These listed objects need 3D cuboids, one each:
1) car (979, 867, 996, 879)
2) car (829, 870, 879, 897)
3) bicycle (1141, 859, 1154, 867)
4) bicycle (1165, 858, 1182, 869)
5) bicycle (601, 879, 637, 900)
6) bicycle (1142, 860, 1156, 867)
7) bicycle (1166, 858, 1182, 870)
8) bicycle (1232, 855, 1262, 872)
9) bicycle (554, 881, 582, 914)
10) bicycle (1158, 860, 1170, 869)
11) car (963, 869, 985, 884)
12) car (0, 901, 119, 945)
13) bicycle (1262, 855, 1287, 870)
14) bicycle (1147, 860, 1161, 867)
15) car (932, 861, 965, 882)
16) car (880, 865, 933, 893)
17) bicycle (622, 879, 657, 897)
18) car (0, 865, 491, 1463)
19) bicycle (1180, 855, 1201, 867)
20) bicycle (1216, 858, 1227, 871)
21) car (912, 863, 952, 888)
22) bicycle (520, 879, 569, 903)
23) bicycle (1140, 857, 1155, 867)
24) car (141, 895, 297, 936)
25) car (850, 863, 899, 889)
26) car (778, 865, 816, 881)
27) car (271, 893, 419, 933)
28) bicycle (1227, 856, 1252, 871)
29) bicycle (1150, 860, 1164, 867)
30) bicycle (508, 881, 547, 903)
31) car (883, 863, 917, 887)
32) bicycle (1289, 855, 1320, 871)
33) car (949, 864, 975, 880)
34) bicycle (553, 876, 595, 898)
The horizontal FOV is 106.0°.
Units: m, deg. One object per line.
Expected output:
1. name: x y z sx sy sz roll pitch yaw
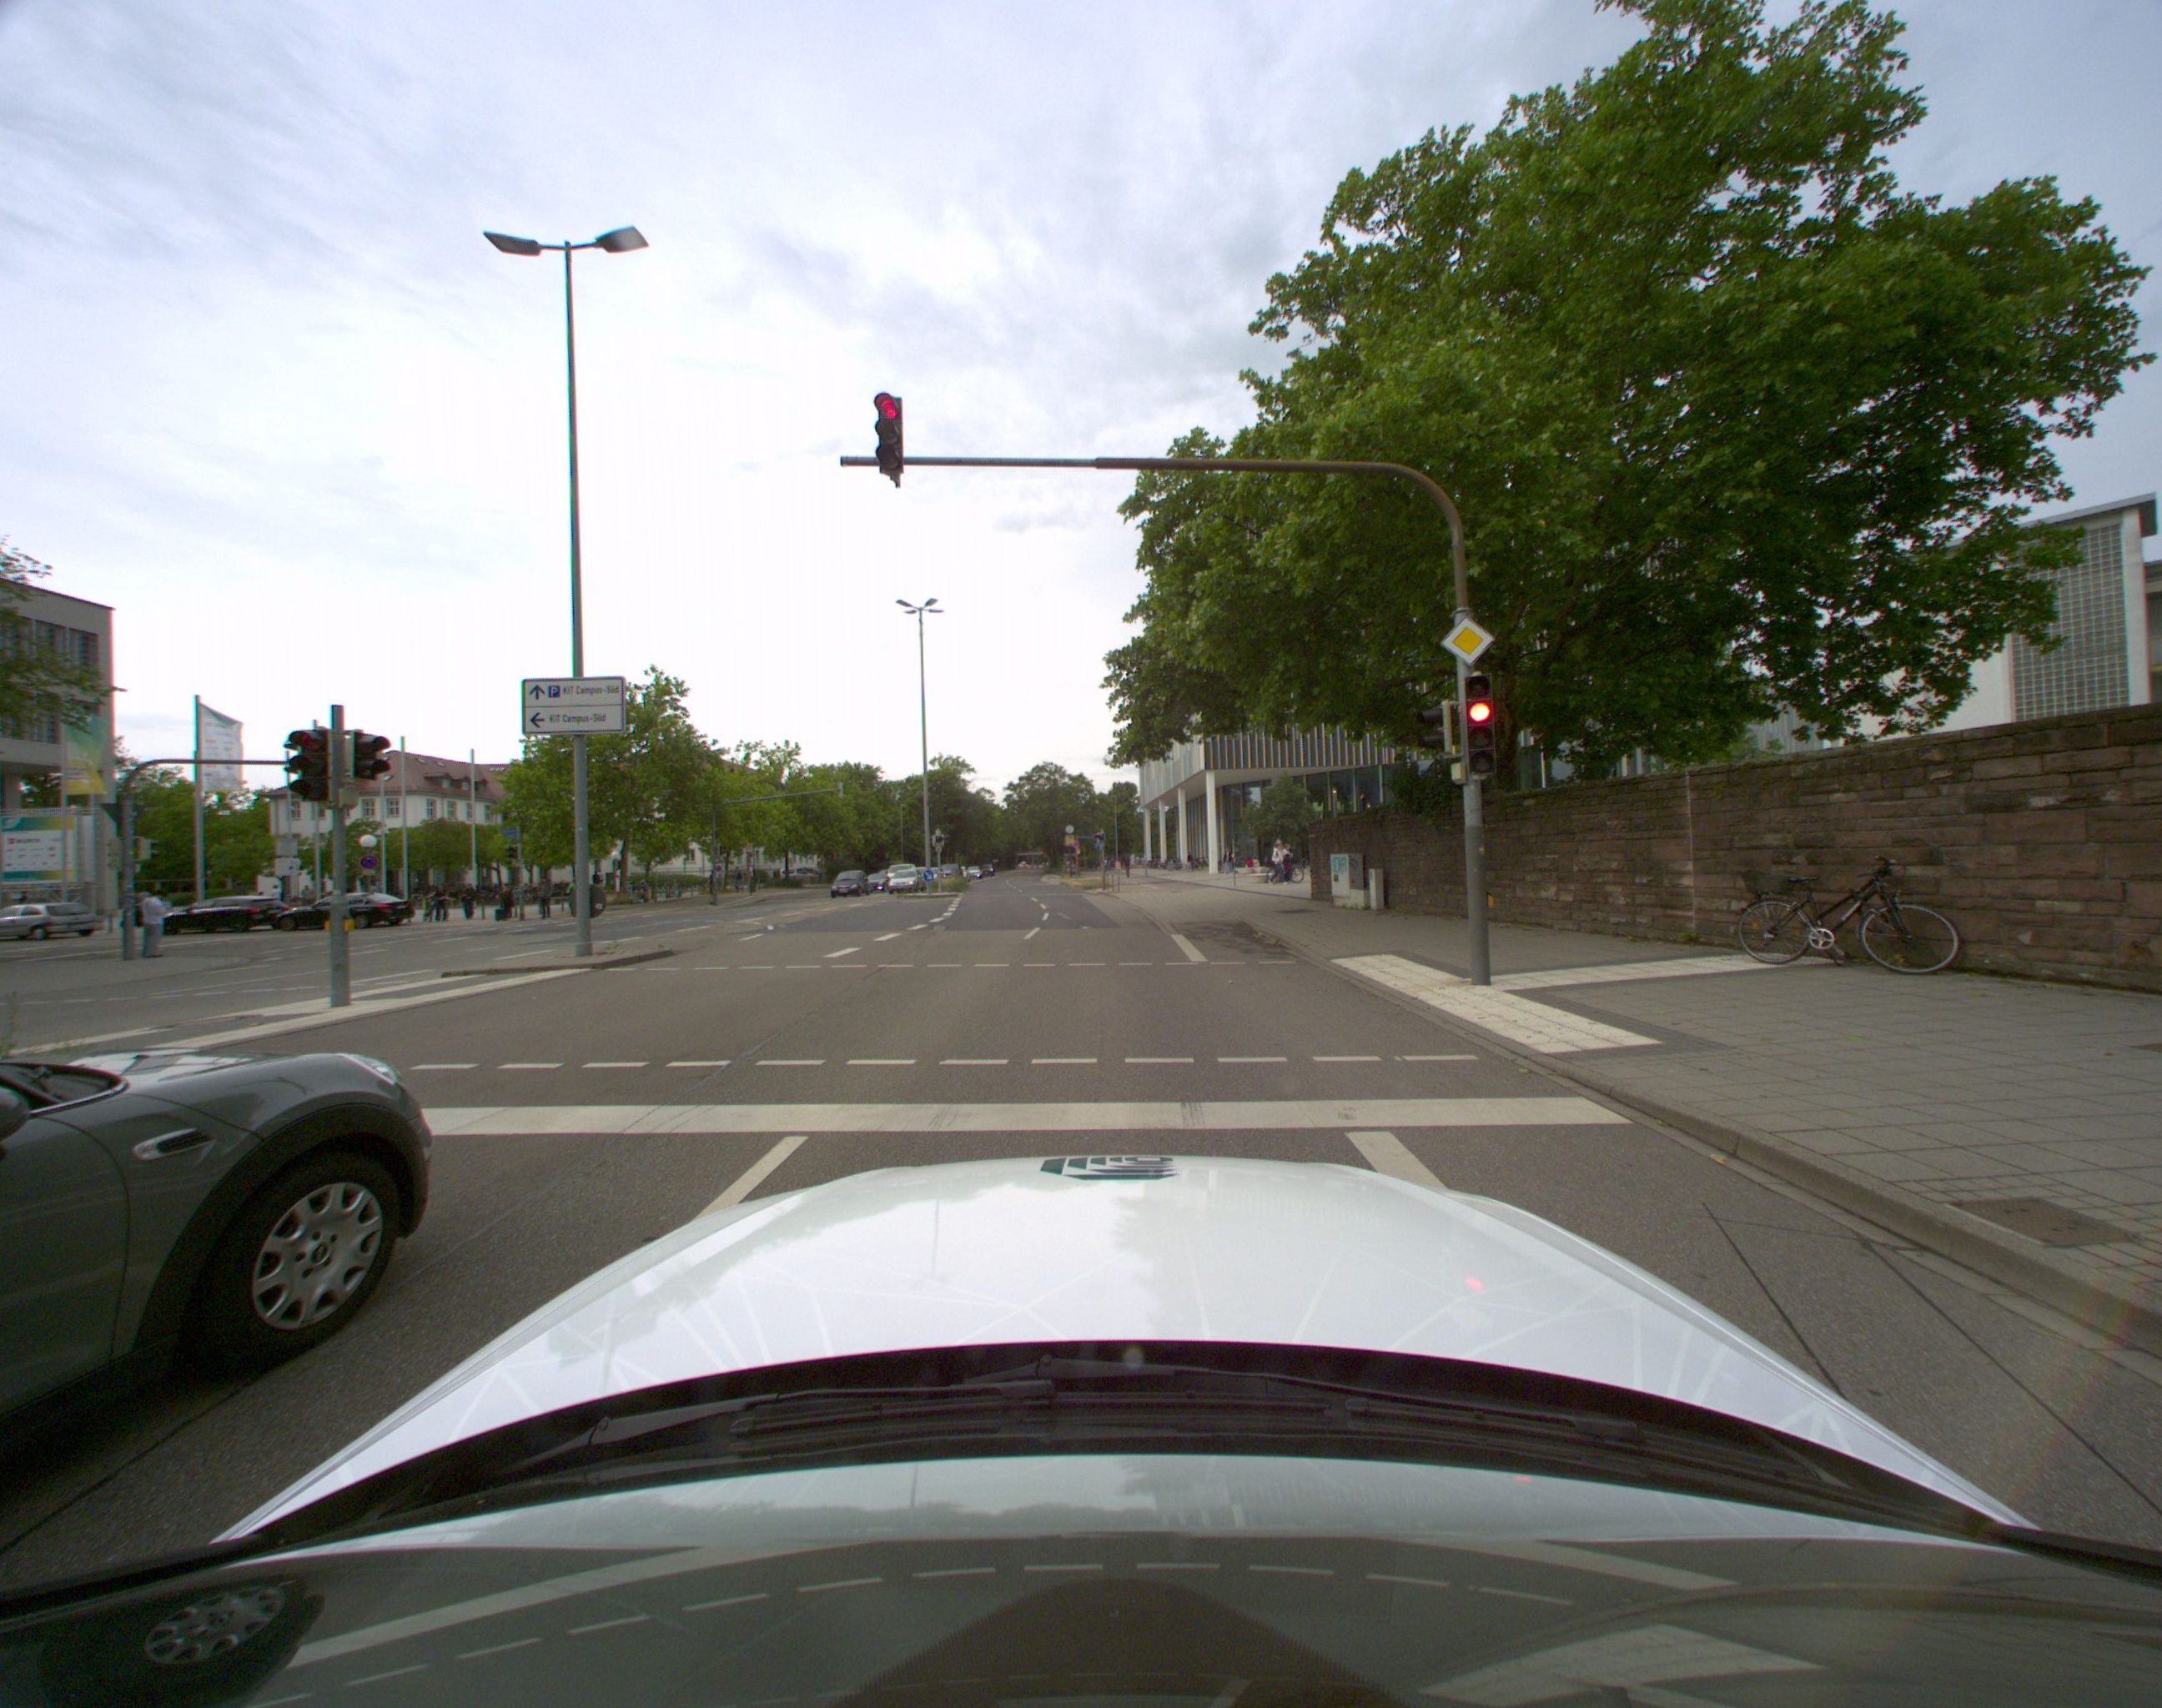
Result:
1. car: -12.755 2.574 111.749 1.898 1.593 4.512 -3 -1 -2
2. car: -13.767 1.791 49.576 1.845 1.463 3.699 -2 0 2
3. bicycle: 8.587 1.126 104.599 1.602 0.875 0.556 -3 -1 -2
4. bicycle: 9.515 0.991 83.637 1.602 0.982 0.556 -5 -1 -2
5. bicycle: -38.025 2.881 67.066 2.396 1.594 0.720 -2 -1 -7
6. bicycle: 8.636 1.196 103.642 1.602 0.875 0.556 -3 -1 -2
7. bicycle: 9.752 1.063 85.229 1.636 1.091 0.573 -5 -1 6
8. bicycle: 12.444 0.696 60.999 2.736 1.188 0.765 -2 -1 -44
9. bicycle: -22.679 1.908 36.048 0.607 1.333 2.294 0 -1 -21
10. bicycle: 9.181 1.155 90.004 1.280 0.875 0.556 -3 -1 -2
11. car: -12.180 2.589 93.165 1.989 1.547 4.176 -4 -1 -2
12. car: -42.138 2.769 32.880 3.979 1.580 1.997 0 -1 -4
13. bicycle: 14.058 0.610 59.133 1.971 1.002 0.765 -2 -1 -44
14. bicycle: 9.182 1.192 102.061 1.602 0.875 0.556 -3 -1 -2
15. car: -11.652 1.511 71.788 1.986 1.687 4.948 -1 0 1
16. car: -10.775 1.531 50.621 1.984 1.529 4.279 -2 0 4
17. bicycle: -31.197 2.426 57.565 2.036 1.153 0.717 -2 -1 -20
18. car: -3.249 0.726 1.416 1.615 1.318 3.707 -2 0 2
19. bicycle: 11.472 0.742 85.396 1.962 1.144 0.652 -5 0 39
20. bicycle: 11.104 0.822 64.486 0.636 1.061 1.841 0 -1 2
21. car: -10.728 1.496 59.021 1.950 1.584 4.256 -3 0 1
22. bicycle: -38.212 2.658 58.030 2.661 1.559 0.918 -2 -1 -13
23. bicycle: 8.656 1.049 106.600 1.791 1.082 0.625 -4 0 -4
24. car: -35.149 2.486 33.311 3.982 1.472 1.996 0 -1 -6
25. car: -14.100 1.484 55.887 1.984 1.619 4.005 -2 0 4
26. car: -30.333 1.998 87.029 3.579 1.602 1.649 0 -1 -5
27. car: -30.370 2.420 33.721 4.136 1.472 1.996 0 -1 -6
28. bicycle: 12.132 0.717 62.386 0.727 1.115 2.196 -3 -1 45
29. bicycle: 9.401 1.166 100.882 1.602 0.875 0.556 -3 -1 -2
30. bicycle: -42.266 2.901 62.163 2.639 1.559 0.926 -3 -1 15
31. car: -14.550 1.679 65.751 1.766 1.848 4.487 0 -1 0
32. bicycle: 15.576 0.628 56.735 2.200 1.006 0.774 -2 -1 -32
33. car: -11.554 1.773 79.371 1.899 1.465 4.906 0 0 -2
34. bicycle: -37.902 2.462 60.881 2.447 1.559 0.918 -2 -1 -13
